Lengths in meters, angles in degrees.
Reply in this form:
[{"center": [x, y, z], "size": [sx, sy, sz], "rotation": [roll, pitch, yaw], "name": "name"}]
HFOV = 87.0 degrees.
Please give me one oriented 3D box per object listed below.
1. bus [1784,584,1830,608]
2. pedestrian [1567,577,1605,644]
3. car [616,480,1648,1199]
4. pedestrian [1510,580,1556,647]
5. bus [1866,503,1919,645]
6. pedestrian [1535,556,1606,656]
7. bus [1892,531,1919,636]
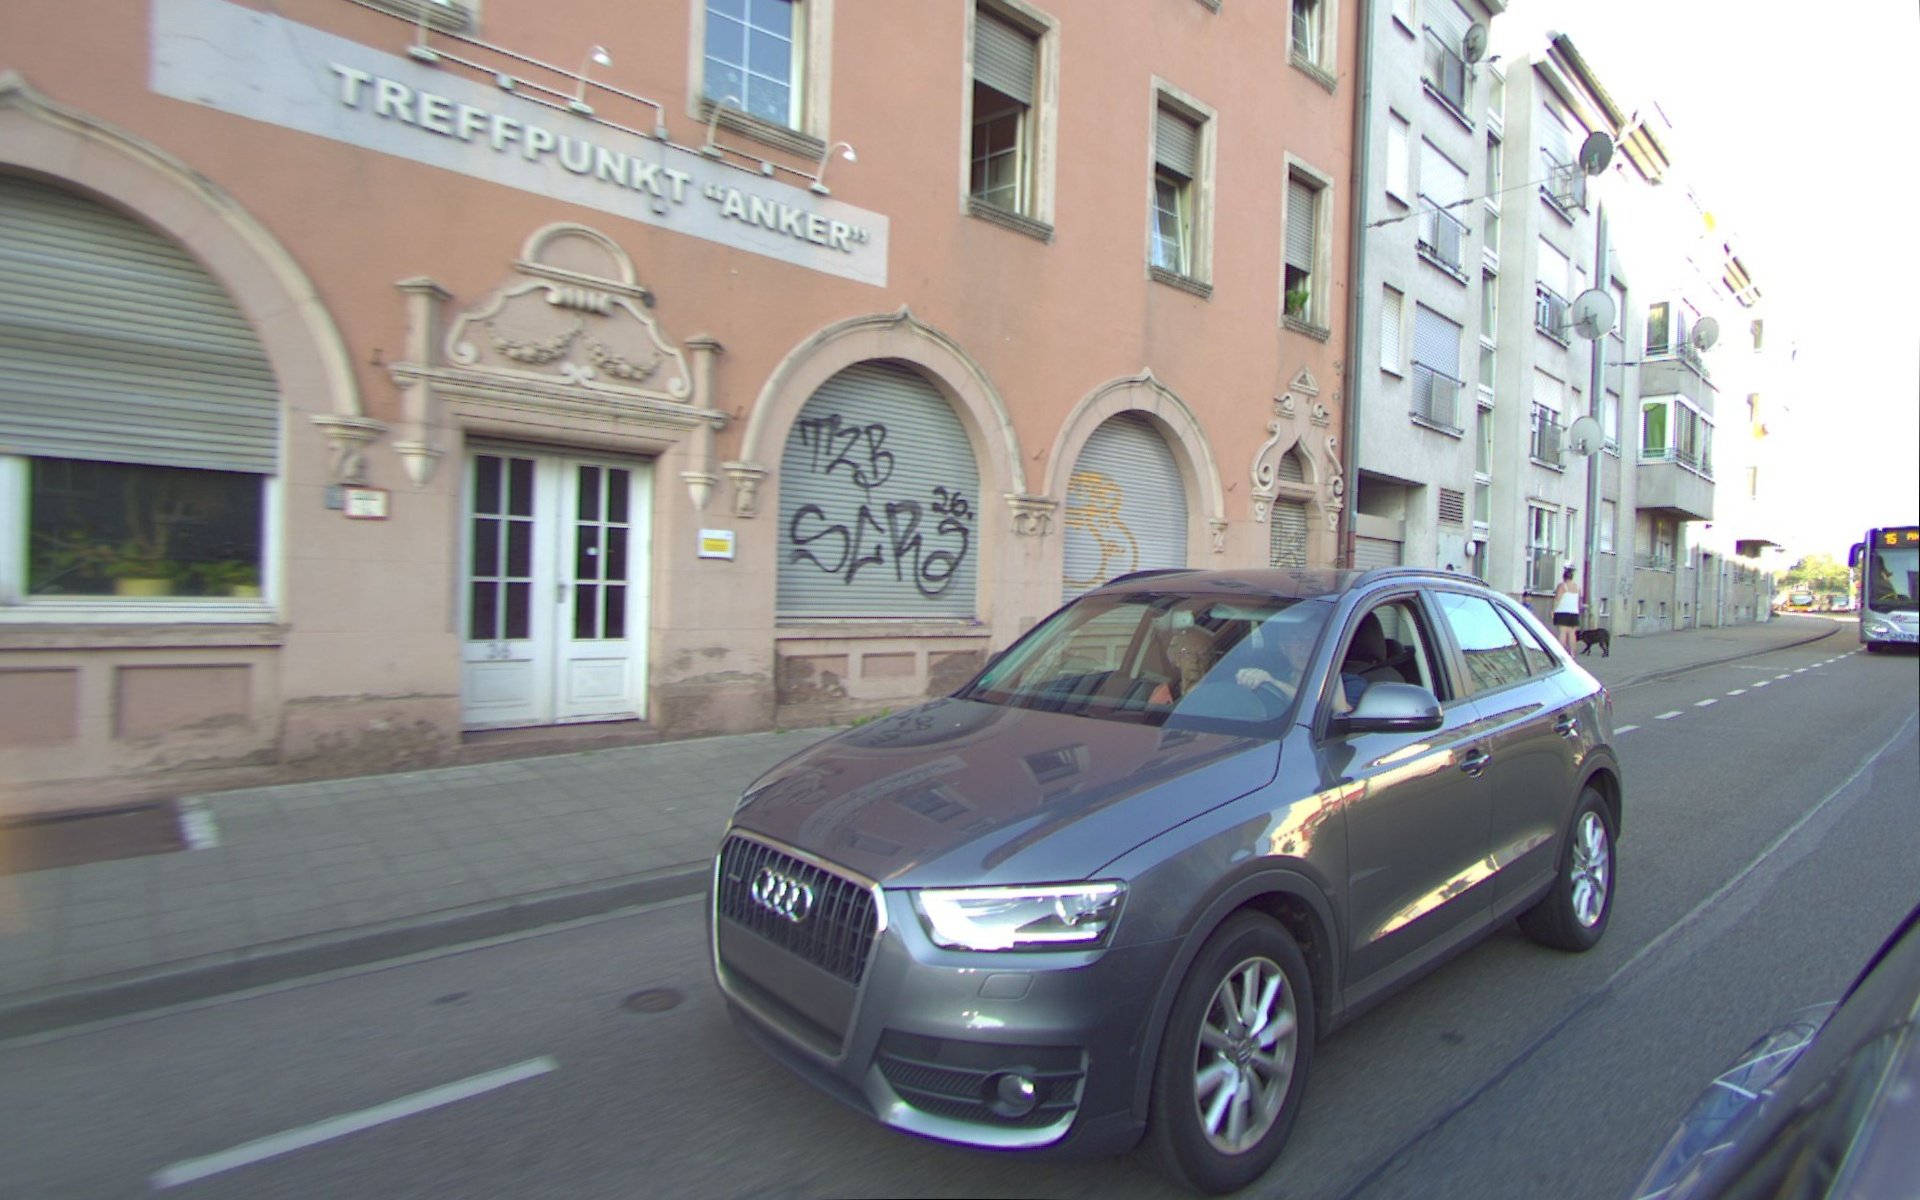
[{"center": [107.201, -0.487, 128.283], "size": [3.856, 2.888, 13.639], "rotation": [1, 1, 37], "name": "bus"}, {"center": [13.028, 0.209, 21.057], "size": [0.514, 1.360, 0.599], "rotation": [4, 3, 44], "name": "pedestrian"}, {"center": [0.996, 0.585, 3.868], "size": [3.997, 1.607, 1.769], "rotation": [1, 0, -42], "name": "car"}, {"center": [11.294, 0.253, 19.949], "size": [0.574, 1.266, 0.588], "rotation": [1, 2, -42], "name": "pedestrian"}, {"center": [25.213, -0.566, 25.679], "size": [10.427, 3.116, 2.726], "rotation": [0, 0, -45], "name": "bus"}, {"center": [11.454, 0.104, 18.973], "size": [0.979, 1.793, 0.831], "rotation": [1, 2, -42], "name": "pedestrian"}, {"center": [32.600, -0.486, 33.072], "size": [10.427, 3.116, 2.707], "rotation": [0, 0, -45], "name": "bus"}]
